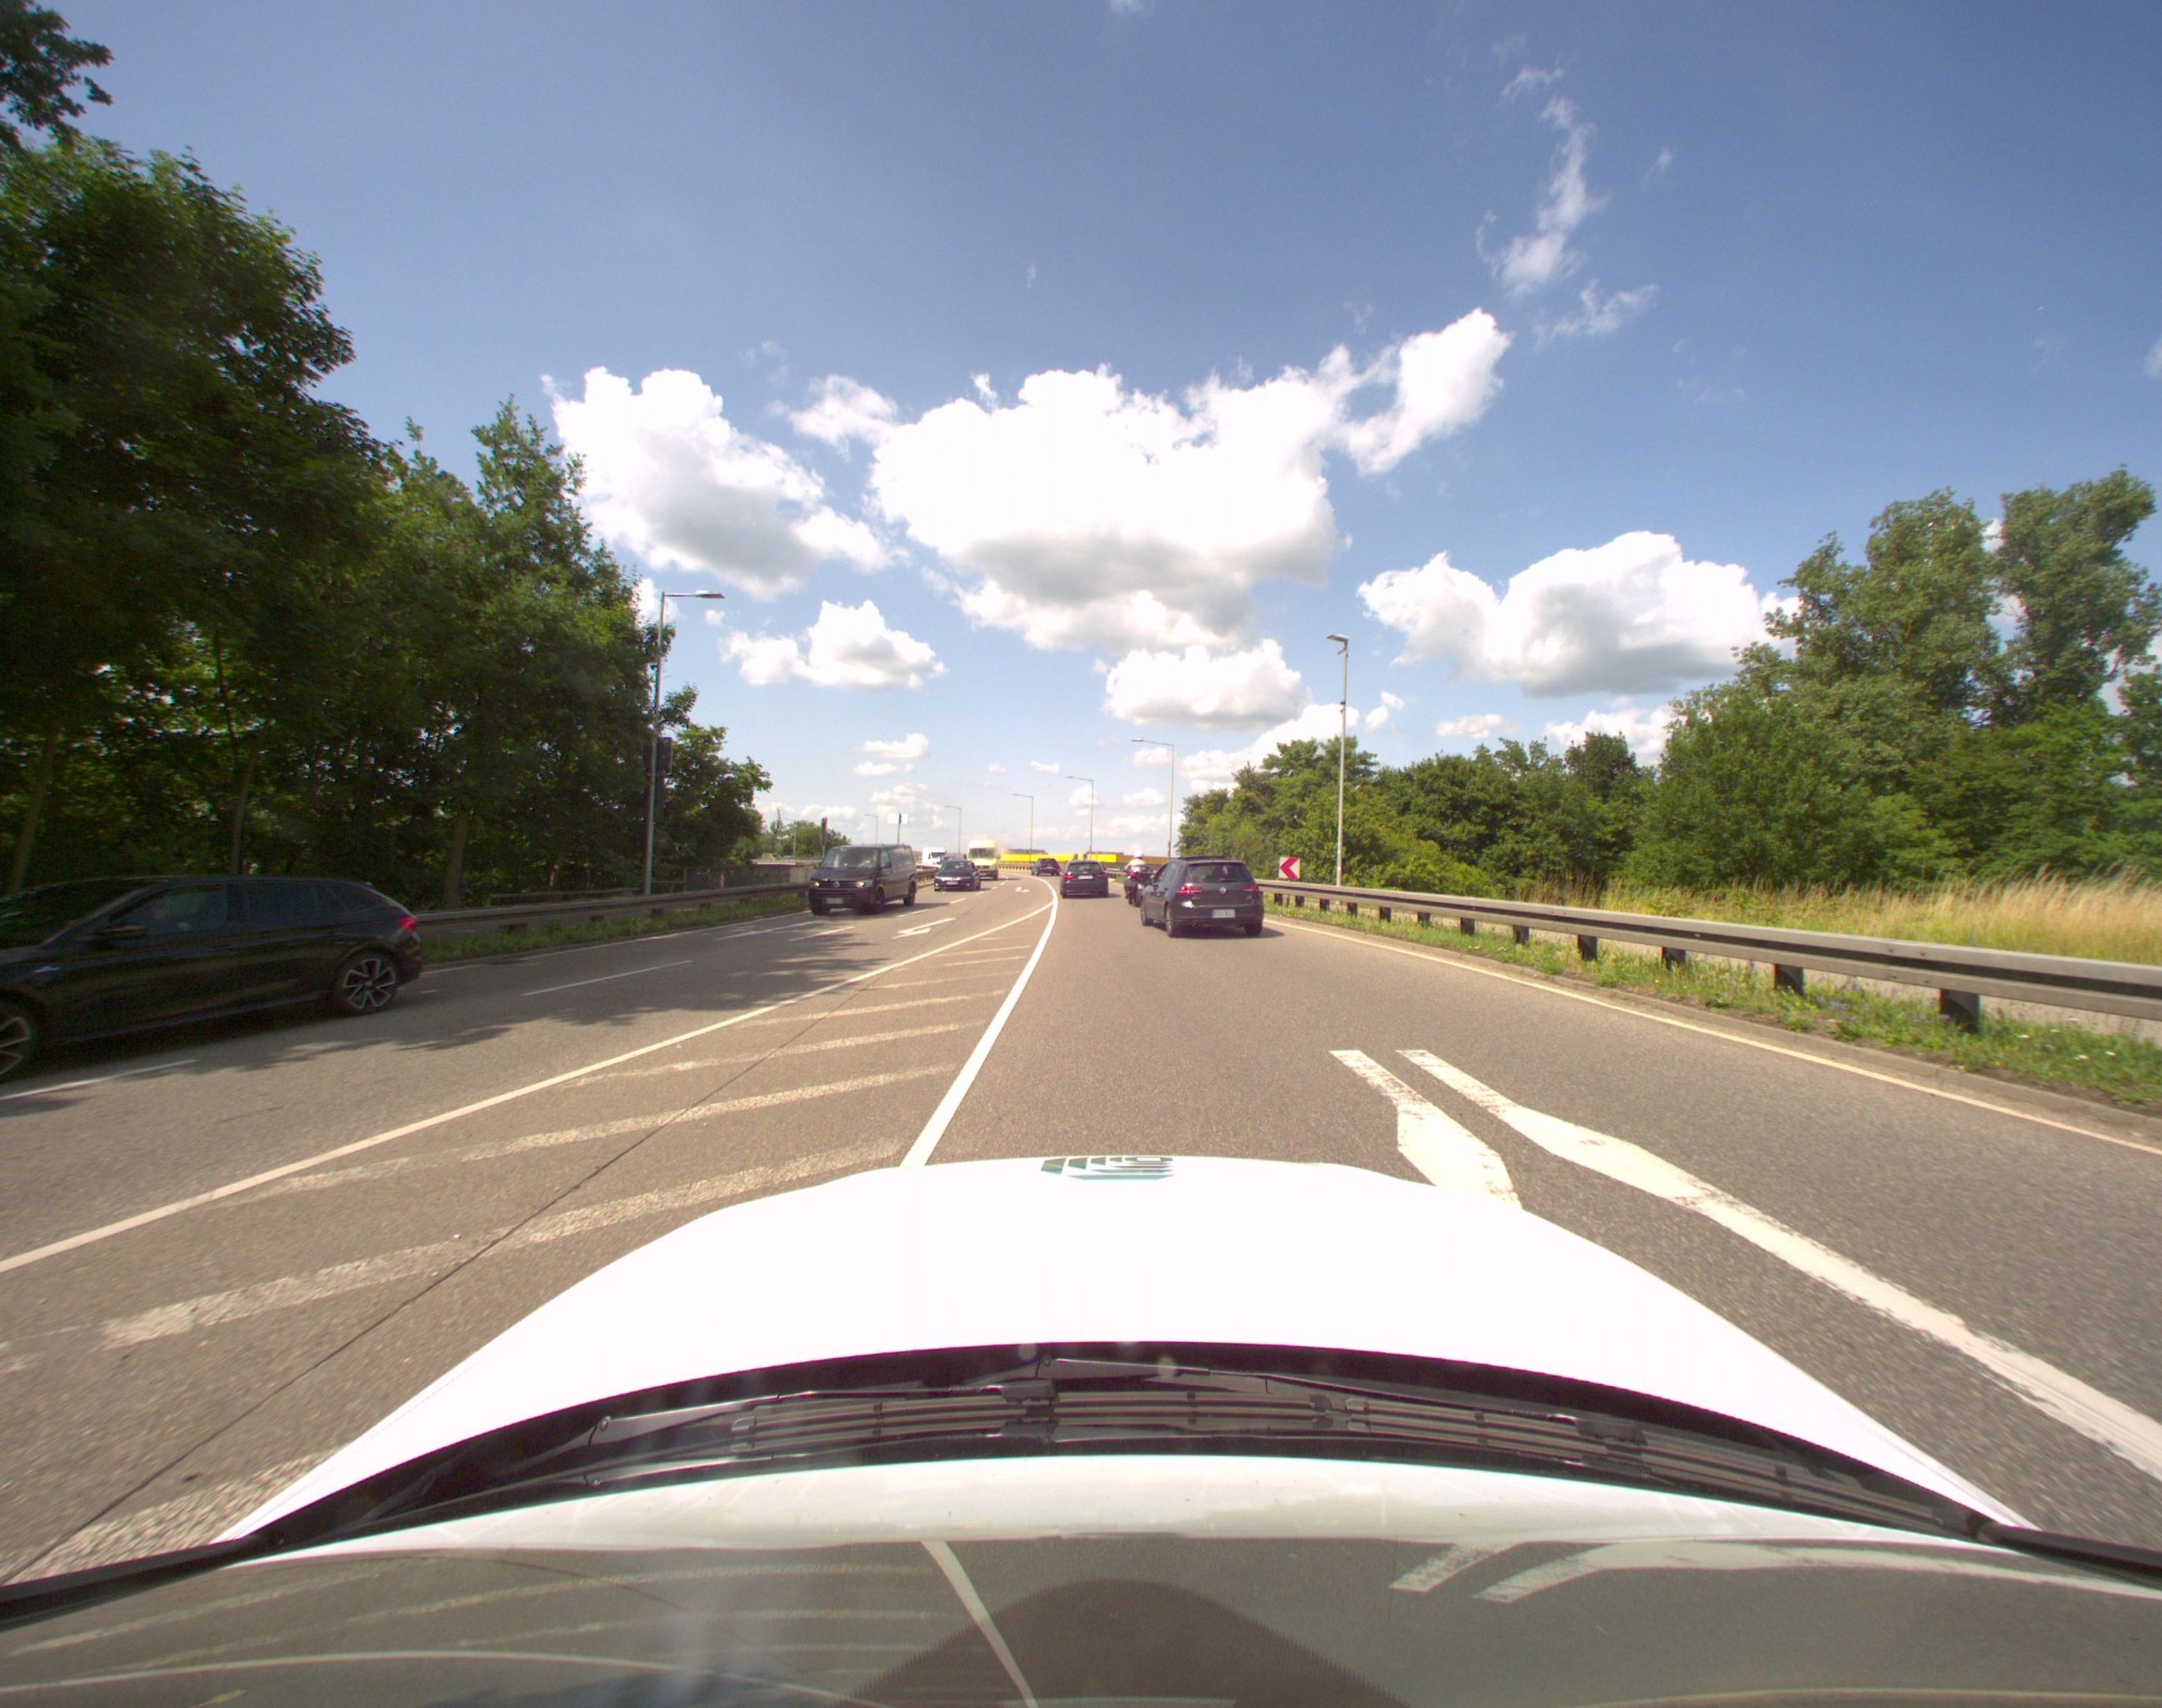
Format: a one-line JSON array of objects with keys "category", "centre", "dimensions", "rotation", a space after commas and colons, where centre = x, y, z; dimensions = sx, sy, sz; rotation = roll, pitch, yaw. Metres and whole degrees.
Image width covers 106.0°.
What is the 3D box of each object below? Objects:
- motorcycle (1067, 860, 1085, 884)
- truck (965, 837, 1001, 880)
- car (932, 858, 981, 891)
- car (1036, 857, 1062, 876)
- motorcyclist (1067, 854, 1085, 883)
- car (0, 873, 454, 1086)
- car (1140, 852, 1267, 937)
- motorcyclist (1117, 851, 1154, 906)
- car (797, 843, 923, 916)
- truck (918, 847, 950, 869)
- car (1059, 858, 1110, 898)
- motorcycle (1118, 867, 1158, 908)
[{"category": "motorcycle", "centre": [-0.283, 0.987, 45.337], "dimensions": [0.885, 1.247, 2.396], "rotation": [0, 0, -3]}, {"category": "truck", "centre": [-6.499, 0.283, 53.567], "dimensions": [1.993, 2.621, 6.084], "rotation": [-2, 0, -9]}, {"category": "car", "centre": [-5.740, 0.920, 37.950], "dimensions": [1.794, 1.389, 4.003], "rotation": [-1, 0, -2]}, {"category": "car", "centre": [-2.536, 0.990, 64.266], "dimensions": [1.642, 1.479, 3.860], "rotation": [0, -1, -9]}, {"category": "motorcyclist", "centre": [-0.272, 0.781, 45.250], "dimensions": [0.963, 1.596, 1.124], "rotation": [1, -1, -3]}, {"category": "car", "centre": [-8.178, 0.933, 7.129], "dimensions": [1.626, 1.409, 4.348], "rotation": [-1, 0, 8]}, {"category": "car", "centre": [2.298, 0.730, 16.271], "dimensions": [1.640, 1.479, 3.864], "rotation": [0, -1, -6]}, {"category": "motorcyclist", "centre": [1.641, 0.724, 24.623], "dimensions": [0.964, 1.620, 1.122], "rotation": [1, -1, -6]}, {"category": "car", "centre": [-6.363, 0.668, 24.165], "dimensions": [1.985, 1.913, 5.138], "rotation": [-1, 0, 4]}, {"category": "truck", "centre": [-17.007, 0.466, 93.867], "dimensions": [2.005, 2.507, 5.895], "rotation": [-1, 0, -27]}, {"category": "car", "centre": [0.083, 0.892, 30.593], "dimensions": [1.678, 1.388, 3.734], "rotation": [-1, -1, -3]}, {"category": "motorcycle", "centre": [1.681, 0.987, 24.401], "dimensions": [0.788, 1.132, 2.394], "rotation": [0, 0, -6]}]
